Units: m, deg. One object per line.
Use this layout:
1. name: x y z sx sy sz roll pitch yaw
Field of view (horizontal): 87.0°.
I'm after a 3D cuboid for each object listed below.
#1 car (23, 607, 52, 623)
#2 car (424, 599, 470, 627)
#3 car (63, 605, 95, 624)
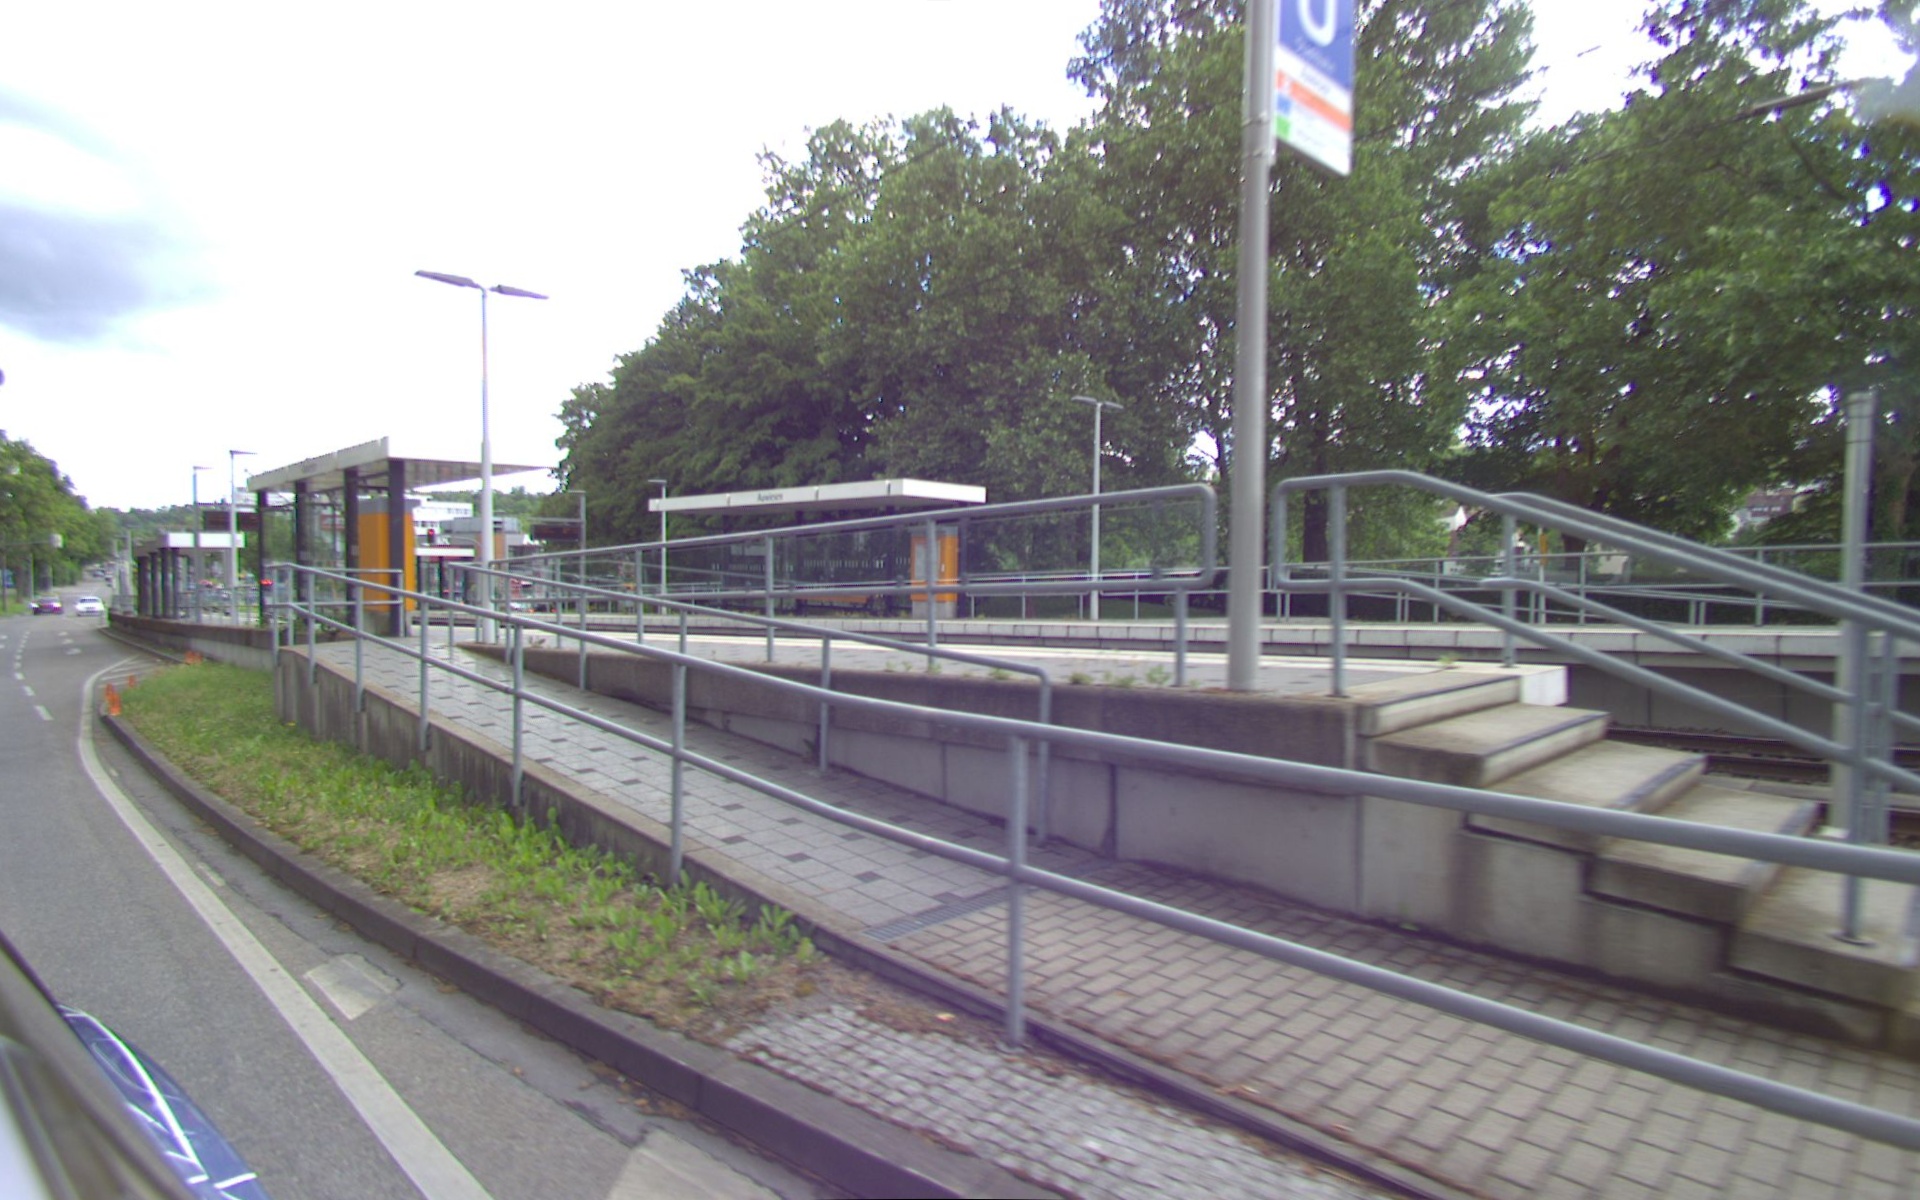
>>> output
1. car: -79.435 1.292 87.151 3.576 1.294 1.692 0 0 45
2. car: -33.361 0.830 65.798 1.745 1.712 3.798 0 0 -42
3. car: -70.415 1.142 80.848 3.710 1.489 1.679 0 0 45
